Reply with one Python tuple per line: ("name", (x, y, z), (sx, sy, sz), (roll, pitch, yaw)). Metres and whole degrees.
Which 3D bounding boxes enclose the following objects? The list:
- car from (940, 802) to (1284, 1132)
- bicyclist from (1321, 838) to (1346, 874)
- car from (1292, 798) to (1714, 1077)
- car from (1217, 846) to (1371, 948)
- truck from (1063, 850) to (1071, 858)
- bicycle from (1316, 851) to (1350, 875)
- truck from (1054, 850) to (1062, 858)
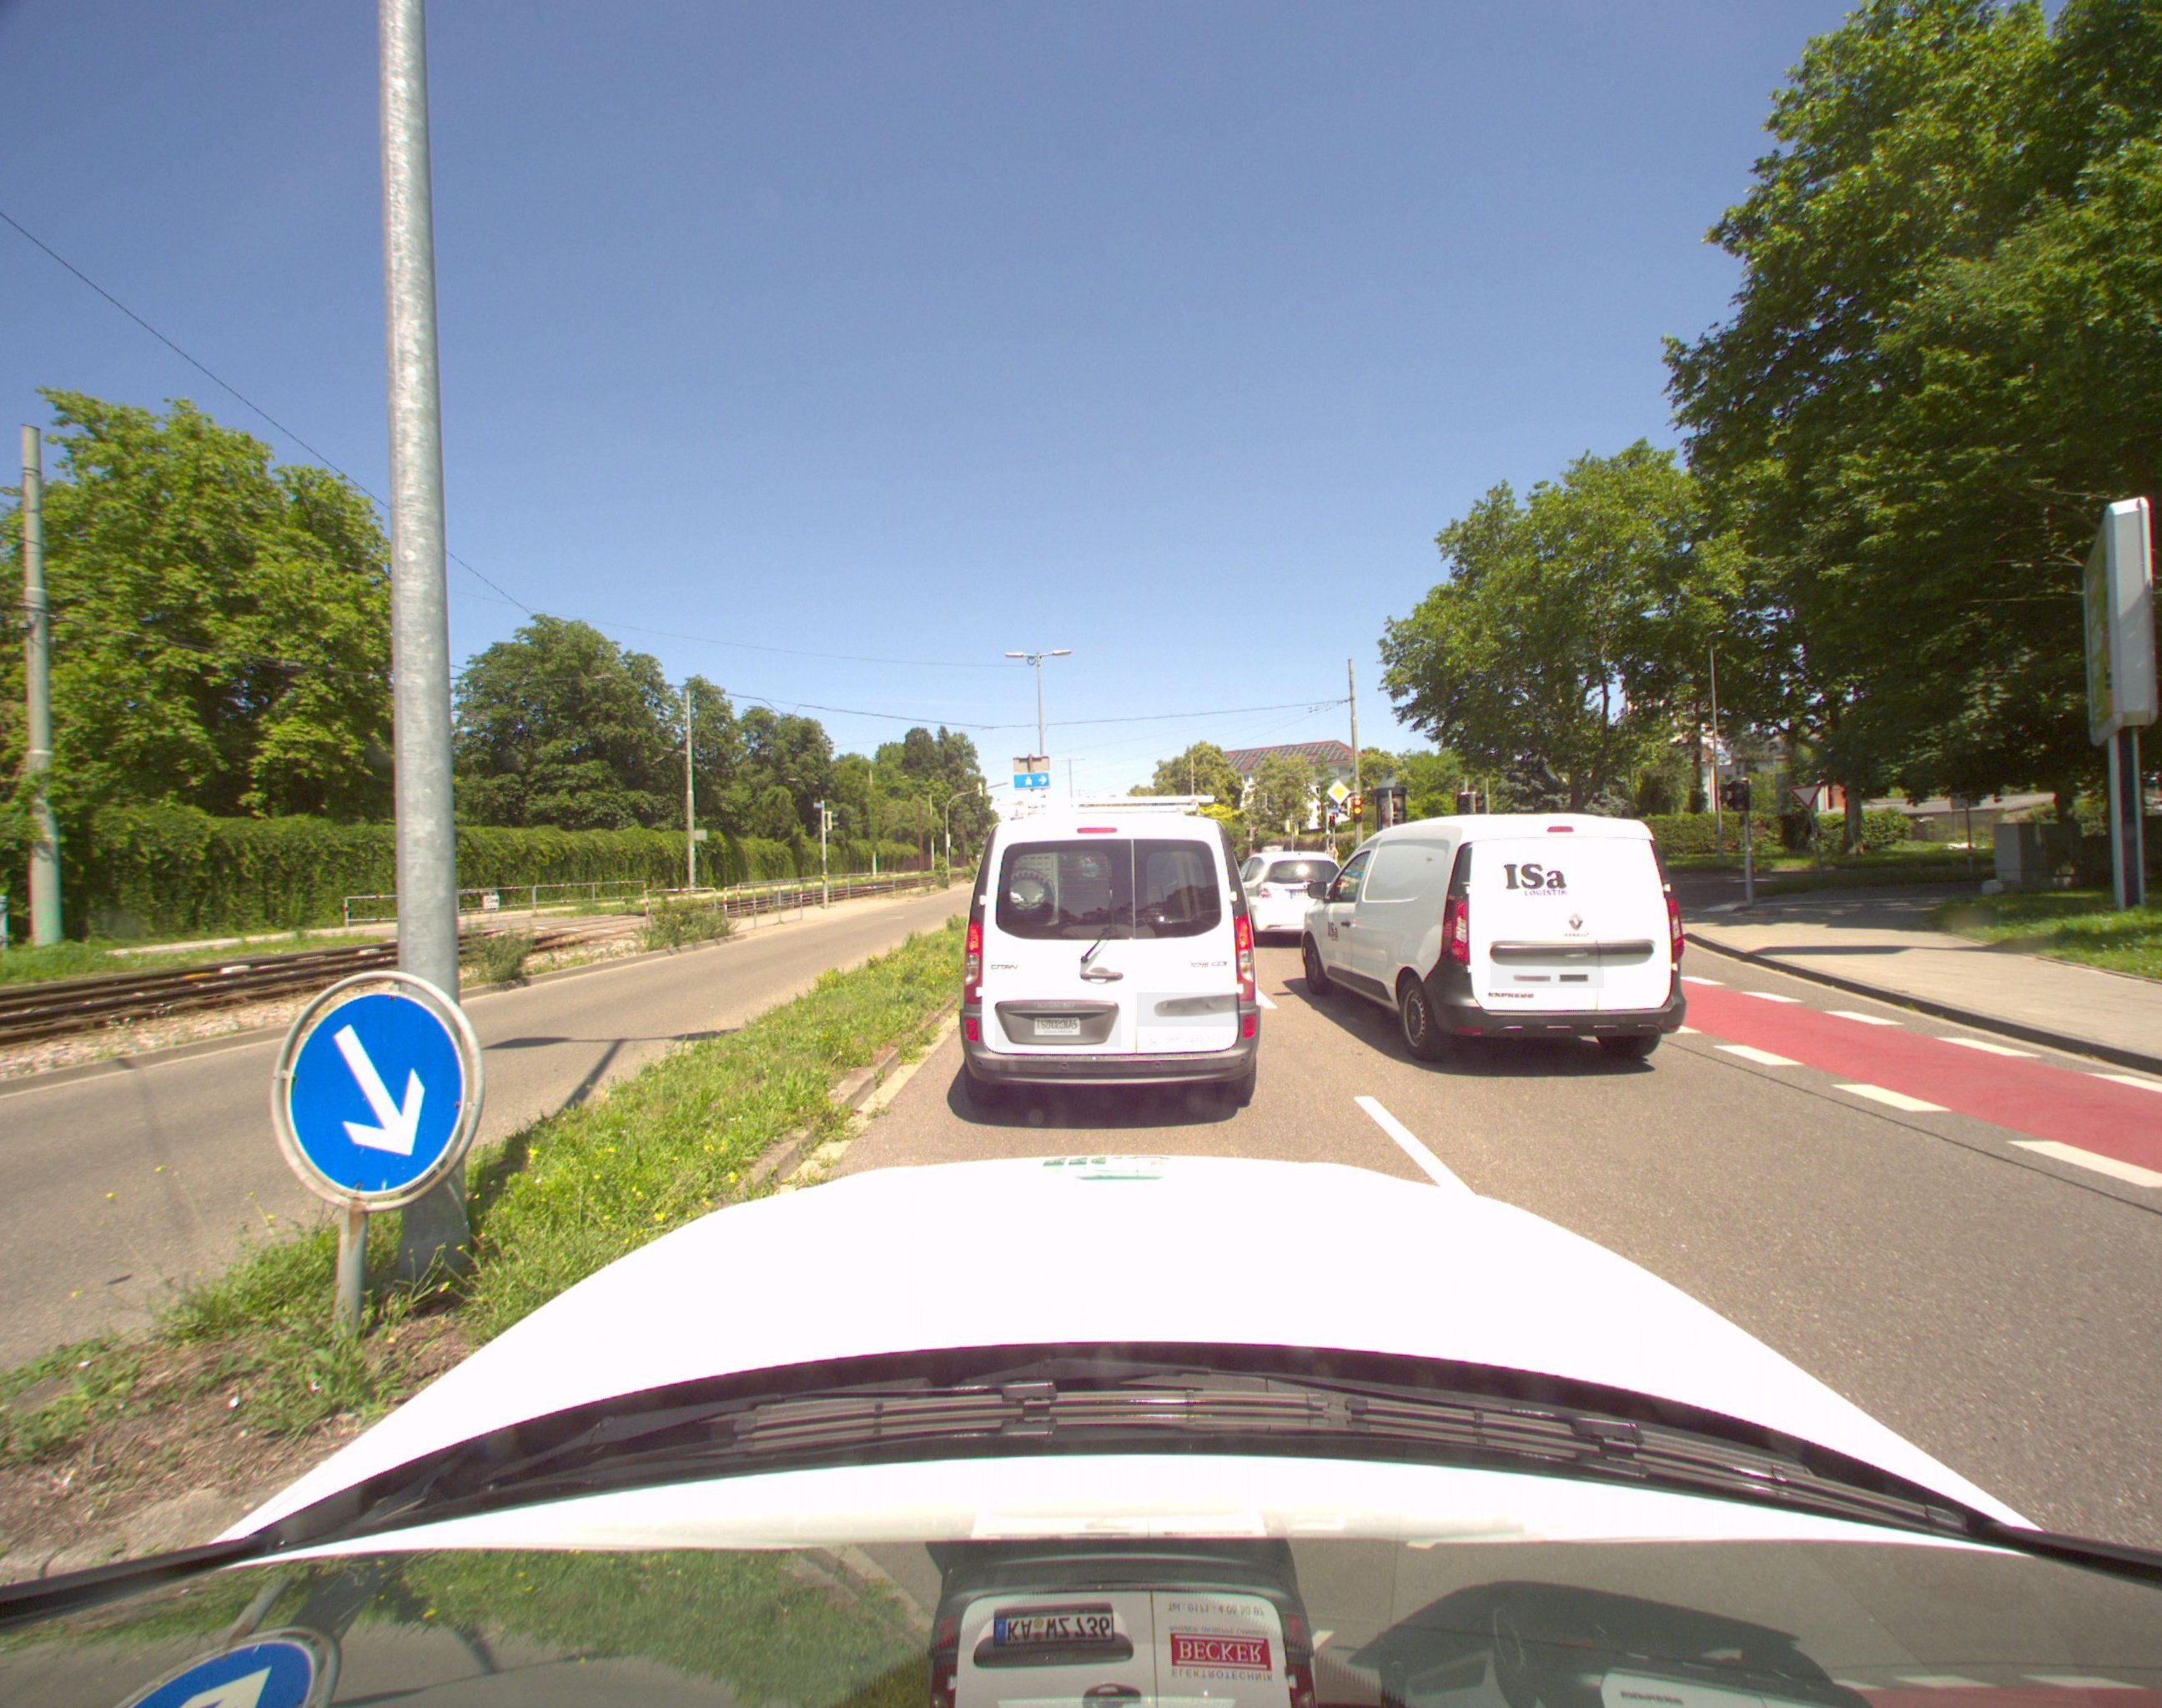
("car", (0.235, 0.610, 6.566), (1.814, 1.739, 4.398), (-1, 0, 2))
("bicyclist", (12.814, 0.098, 41.309), (0.973, 1.788, 0.724), (-1, -1, -8))
("car", (3.258, 0.546, 7.300), (1.721, 1.788, 4.065), (0, 0, 1))
("car", (3.646, 0.655, 14.657), (1.828, 1.568, 4.002), (0, 0, 2))
("truck", (-4.505, -0.024, 258.188), (2.131, 2.587, 5.891), (0, -1, 2))
("bicycle", (12.785, 0.477, 41.328), (0.891, 1.159, 1.951), (-1, -1, -8))
("truck", (-7.316, -0.011, 257.240), (2.131, 2.587, 5.891), (0, -1, 2))
